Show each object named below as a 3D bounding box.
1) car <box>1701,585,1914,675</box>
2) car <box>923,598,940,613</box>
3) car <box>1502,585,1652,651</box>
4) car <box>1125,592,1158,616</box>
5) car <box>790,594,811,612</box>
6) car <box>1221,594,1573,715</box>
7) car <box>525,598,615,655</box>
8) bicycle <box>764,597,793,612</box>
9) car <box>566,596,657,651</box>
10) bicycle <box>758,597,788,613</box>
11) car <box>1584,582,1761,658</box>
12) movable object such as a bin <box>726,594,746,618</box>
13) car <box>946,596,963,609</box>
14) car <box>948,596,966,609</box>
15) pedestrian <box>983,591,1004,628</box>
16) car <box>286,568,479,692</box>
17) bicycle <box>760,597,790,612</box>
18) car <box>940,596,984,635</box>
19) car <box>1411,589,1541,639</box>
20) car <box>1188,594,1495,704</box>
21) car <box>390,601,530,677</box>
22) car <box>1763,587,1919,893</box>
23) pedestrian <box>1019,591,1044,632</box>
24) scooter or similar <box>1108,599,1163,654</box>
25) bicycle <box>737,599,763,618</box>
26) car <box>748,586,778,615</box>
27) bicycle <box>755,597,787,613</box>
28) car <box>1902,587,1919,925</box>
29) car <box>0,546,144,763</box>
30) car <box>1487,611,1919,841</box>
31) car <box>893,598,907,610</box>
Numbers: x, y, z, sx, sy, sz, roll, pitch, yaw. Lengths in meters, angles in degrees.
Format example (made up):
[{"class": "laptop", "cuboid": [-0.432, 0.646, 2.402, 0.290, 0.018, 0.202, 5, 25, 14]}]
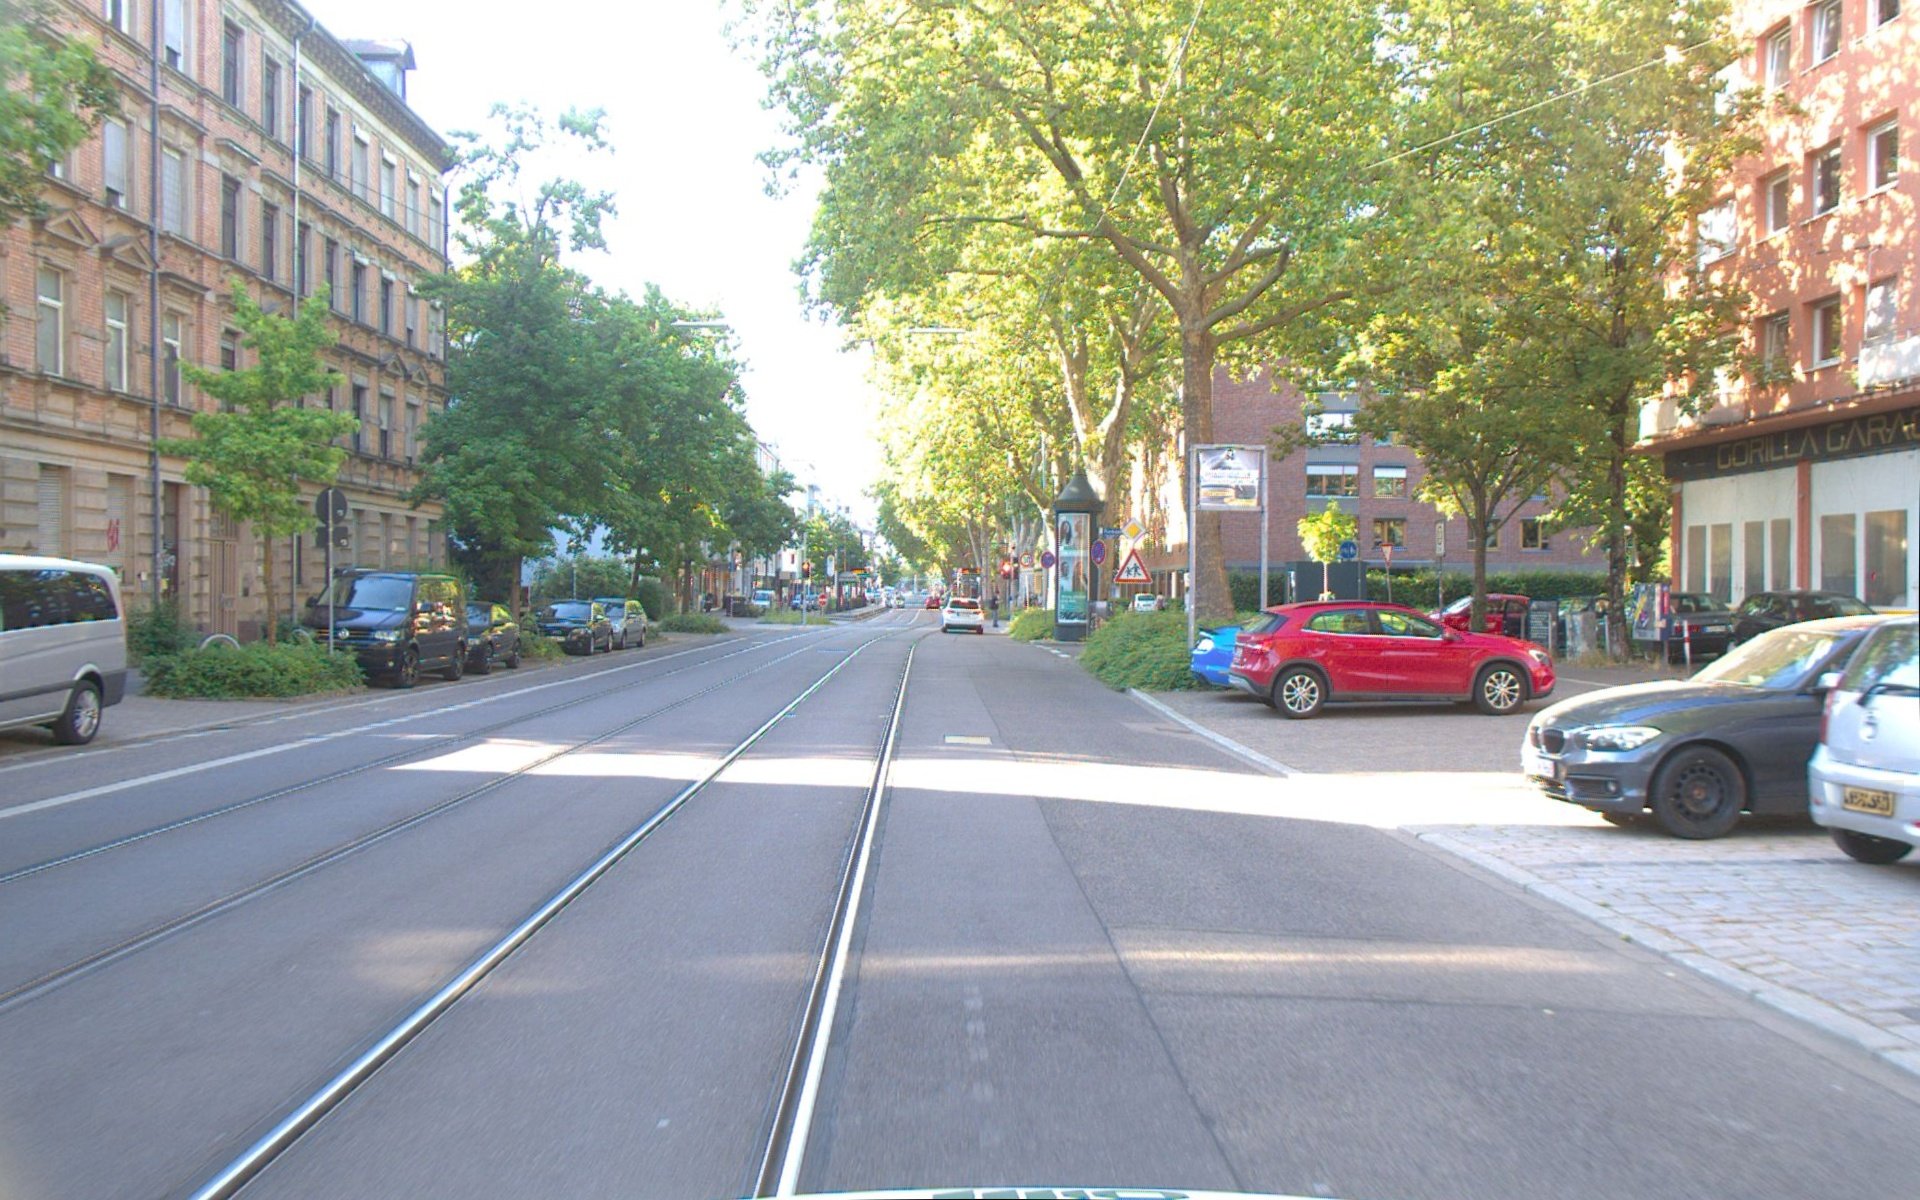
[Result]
[{"class": "car", "cuboid": [14.957, 0.489, 29.441, 1.713, 1.460, 3.949, -1, 0, -1]}, {"class": "car", "cuboid": [-3.057, 0.557, 174.638, 1.752, 1.540, 3.999, 0, 0, -1]}, {"class": "car", "cuboid": [15.864, 0.417, 42.773, 1.755, 1.602, 4.571, -1, 0, -7]}, {"class": "car", "cuboid": [11.438, 0.240, 104.293, 1.568, 1.521, 3.415, 0, 0, -3]}, {"class": "car", "cuboid": [-14.264, 0.264, 147.906, 1.561, 1.575, 3.999, 2, 0, -1]}, {"class": "car", "cuboid": [5.873, 0.707, 22.630, 4.312, 1.570, 1.952, 0, 0, 1]}, {"class": "car", "cuboid": [-10.655, 0.698, 45.404, 1.625, 1.470, 3.948, 1, 0, -2]}, {"class": "bicycle", "cuboid": [-14.318, 0.368, 130.577, 2.207, 1.092, 0.636, 3, 0, 0]}, {"class": "car", "cuboid": [-10.654, 0.675, 50.857, 1.664, 1.577, 4.537, 1, 0, 2]}, {"class": "bicycle", "cuboid": [-14.210, 0.357, 125.738, 2.207, 1.092, 0.636, 3, 0, 0]}, {"class": "car", "cuboid": [14.732, 0.384, 34.479, 1.713, 1.460, 4.467, -1, 0, -1]}, {"class": "movable object such as a bin", "cuboid": [-13.865, 0.360, 102.445, 1.147, 1.372, 0.782, 4, 0, -6]}, {"class": "car", "cuboid": [-0.672, 0.290, 202.314, 1.953, 1.478, 3.999, 0, 0, -1]}, {"class": "car", "cuboid": [-0.374, 0.294, 197.235, 1.953, 1.478, 3.999, 0, 0, -1]}, {"class": "pedestrian", "cuboid": [1.701, 0.488, 84.248, 0.975, 1.843, 0.863, 0, 0, -7]}, {"class": "car", "cuboid": [-10.308, 0.490, 29.920, 1.953, 2.049, 4.832, 0, 0, -2]}, {"class": "bicycle", "cuboid": [-14.419, 0.354, 128.743, 2.207, 1.092, 0.636, 3, 0, 0]}, {"class": "car", "cuboid": [0.051, 0.631, 68.799, 1.752, 1.540, 3.999, 0, 0, -1]}, {"class": "car", "cuboid": [15.887, 0.408, 51.061, 3.467, 1.477, 1.682, 0, 0, -4]}, {"class": "car", "cuboid": [5.643, 0.705, 24.908, 4.310, 1.570, 1.819, 0, 0, 6]}, {"class": "car", "cuboid": [-10.522, 0.768, 35.084, 1.816, 1.484, 4.268, 0, 0, -2]}, {"class": "car", "cuboid": [7.036, 0.713, 9.357, 4.113, 1.583, 1.818, 0, 0, 1]}, {"class": "pedestrian", "cuboid": [3.489, 0.553, 80.796, 0.964, 1.896, 1.014, -3, 0, -7]}, {"class": "scooter or similar", "cuboid": [4.092, 0.608, 38.516, 1.184, 1.261, 0.569, -1, -1, -3]}, {"class": "bicycle", "cuboid": [-13.277, 0.534, 104.532, 1.503, 1.094, 0.885, 3, 0, -2]}, {"class": "car", "cuboid": [-13.781, 0.015, 115.807, 1.654, 1.974, 3.999, 0, 0, -2]}, {"class": "bicycle", "cuboid": [-14.080, 0.380, 123.308, 2.207, 1.092, 0.636, 3, 0, 0]}, {"class": "car", "cuboid": [6.585, 0.738, 7.051, 4.113, 1.601, 1.818, 0, 0, 1]}, {"class": "car", "cuboid": [-9.862, 0.507, 15.669, 1.806, 2.023, 4.987, 0, 0, 0]}, {"class": "car", "cuboid": [6.100, 0.826, 11.783, 4.115, 1.473, 1.817, 0, 0, -2]}, {"class": "car", "cuboid": [-7.281, 0.433, 199.894, 1.659, 1.444, 3.999, 0, 0, -1]}]
